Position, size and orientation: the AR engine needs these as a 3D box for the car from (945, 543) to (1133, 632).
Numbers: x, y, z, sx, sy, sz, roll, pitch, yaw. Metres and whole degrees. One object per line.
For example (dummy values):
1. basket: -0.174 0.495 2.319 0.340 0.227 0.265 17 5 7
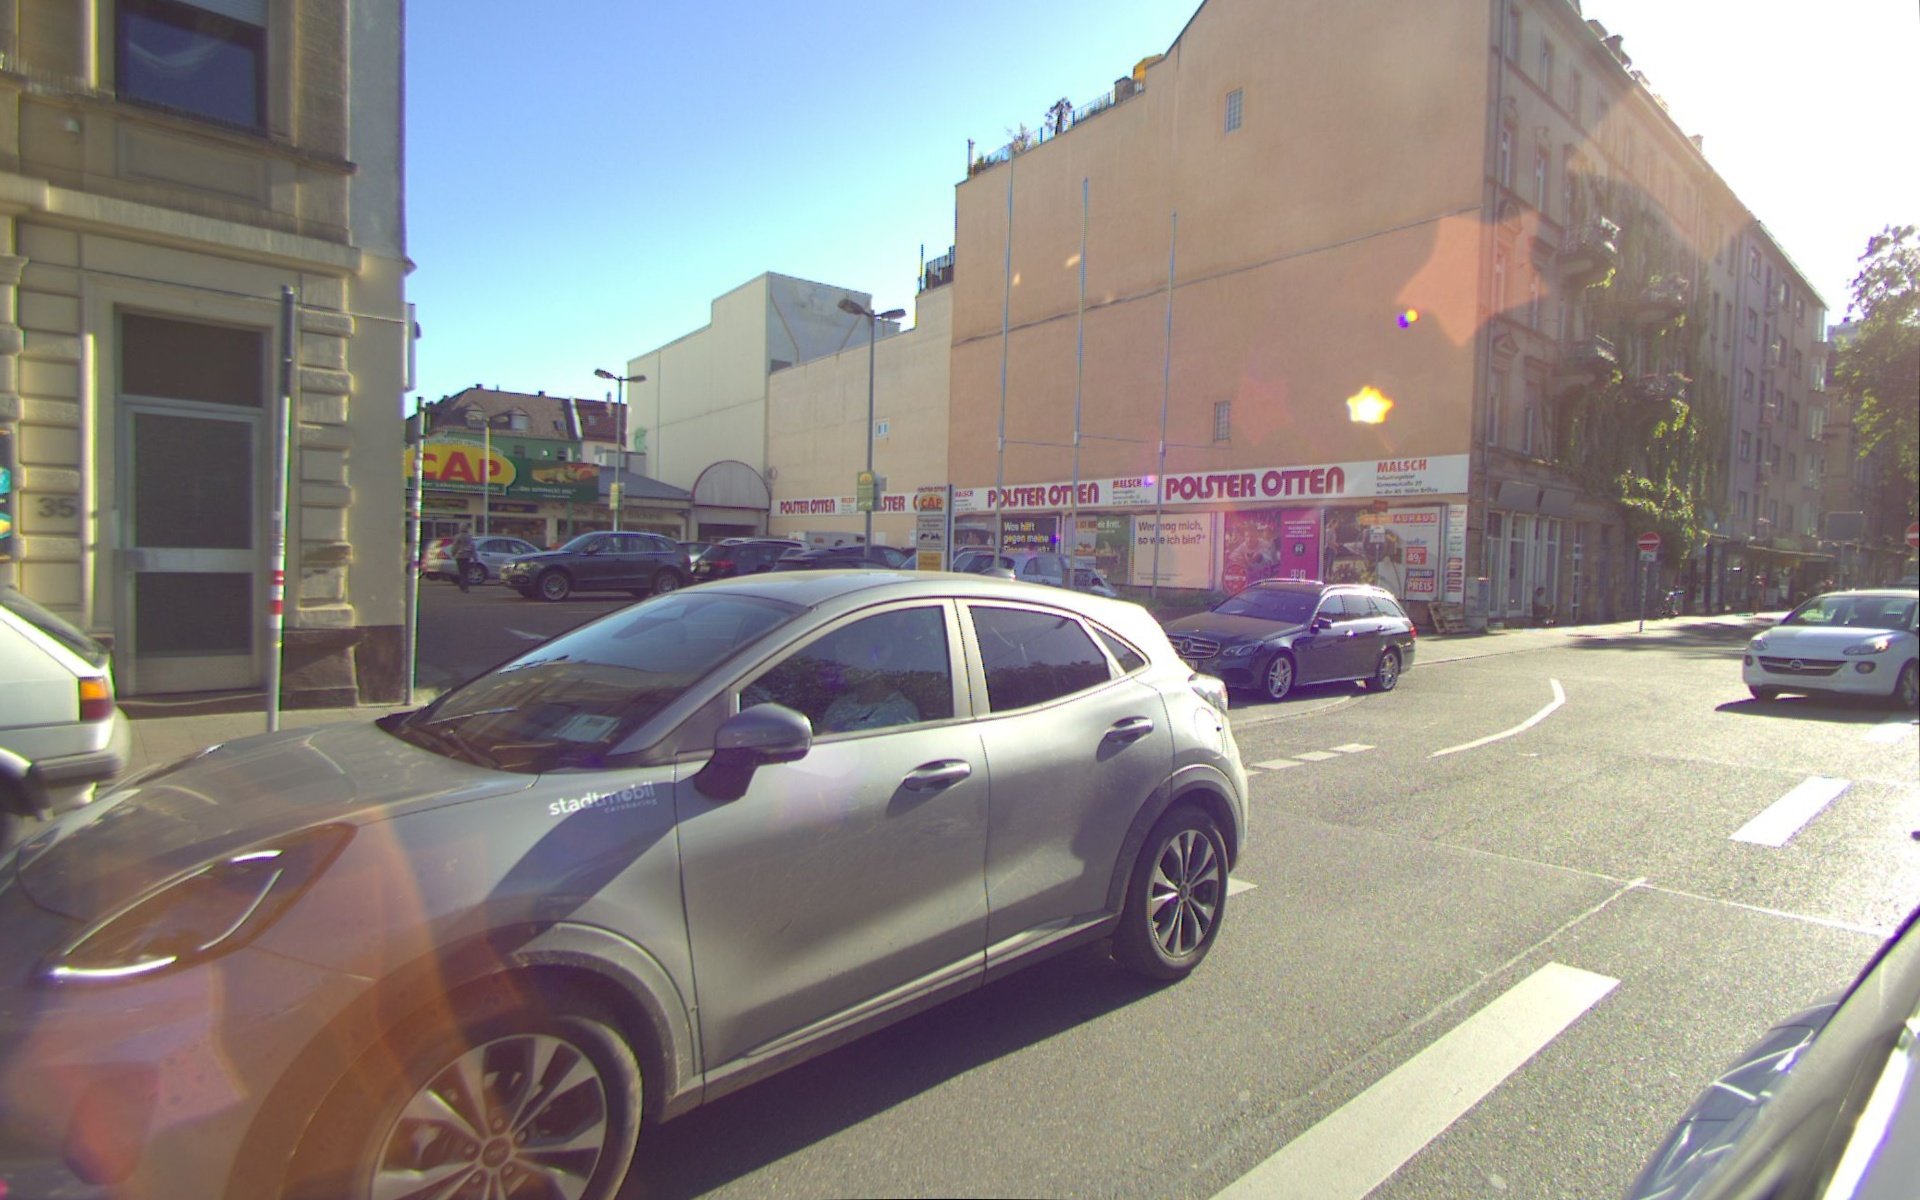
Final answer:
1. car: 1.708 -0.301 21.002 3.935 1.665 1.746 -1 3 -45

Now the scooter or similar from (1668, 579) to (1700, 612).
1. scooter or similar: 27.854 -0.199 38.936 0.631 1.188 1.720 2 3 24

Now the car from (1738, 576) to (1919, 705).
1. car: 12.217 0.440 13.326 3.704 1.472 1.611 -1 1 -25

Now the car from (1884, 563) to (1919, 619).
1. car: 32.667 -0.288 34.018 3.930 1.785 1.868 -1 3 -41

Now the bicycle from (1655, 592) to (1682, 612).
1. bicycle: 26.376 0.066 37.655 1.486 0.714 0.469 -1 3 -41

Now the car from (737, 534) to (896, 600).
1. car: -3.638 -0.843 26.060 3.871 1.563 1.544 -1 3 -42

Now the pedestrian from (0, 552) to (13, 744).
1. pedestrian: -7.117 0.321 7.110 0.901 1.297 0.645 5 4 44

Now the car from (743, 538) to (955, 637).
1. car: -1.831 -0.241 17.245 3.340 1.504 1.559 -1 3 -45

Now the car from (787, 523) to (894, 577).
1. car: -5.701 -2.366 48.565 4.787 2.441 1.713 0 3 -32

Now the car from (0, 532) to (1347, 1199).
1. car: -0.428 0.622 3.584 4.308 1.546 1.699 -1 2 -44

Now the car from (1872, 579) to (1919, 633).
1. car: 28.902 0.146 30.516 3.933 1.536 1.740 -1 1 -43

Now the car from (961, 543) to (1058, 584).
1. car: 1.942 -1.442 39.230 3.580 1.481 1.680 -2 4 -39

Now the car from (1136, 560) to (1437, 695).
1. car: 4.754 0.283 14.383 4.650 1.504 1.838 -1 6 -40

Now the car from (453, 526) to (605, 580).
1. car: -13.144 -1.411 30.965 3.931 1.537 1.725 -1 3 -41

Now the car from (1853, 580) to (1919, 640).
1. car: 25.669 0.223 27.569 3.933 1.536 1.642 -1 1 -43

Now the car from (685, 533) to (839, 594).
1. car: -5.354 -0.990 27.629 3.871 1.563 1.544 -1 3 -42

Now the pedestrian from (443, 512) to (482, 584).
1. pedestrian: -12.668 -1.319 25.764 0.512 1.777 0.750 3 3 44

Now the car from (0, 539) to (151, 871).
1. car: -5.954 0.467 4.263 3.934 1.432 1.566 -1 6 -41

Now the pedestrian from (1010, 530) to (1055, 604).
1. pedestrian: 2.054 -0.939 28.666 0.907 2.038 0.818 0 2 -41

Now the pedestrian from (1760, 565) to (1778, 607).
1. pedestrian: 36.855 -0.644 46.099 0.507 1.855 0.469 0 2 -41

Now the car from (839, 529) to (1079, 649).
1. car: 0.071 -0.248 16.590 3.840 1.664 1.652 -2 6 -45

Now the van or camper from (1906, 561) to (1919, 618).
1. van or camper: 36.767 -0.375 37.579 5.007 2.038 1.887 -1 3 -42

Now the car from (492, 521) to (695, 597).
1. car: -8.839 -0.990 24.629 4.306 1.686 1.758 -1 3 -41

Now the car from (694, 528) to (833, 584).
1. car: -5.985 -1.336 31.047 3.871 1.600 1.659 -1 3 -42

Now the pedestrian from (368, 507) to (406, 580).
1. pedestrian: -15.047 -1.477 26.565 0.749 1.864 0.747 0 3 -40
